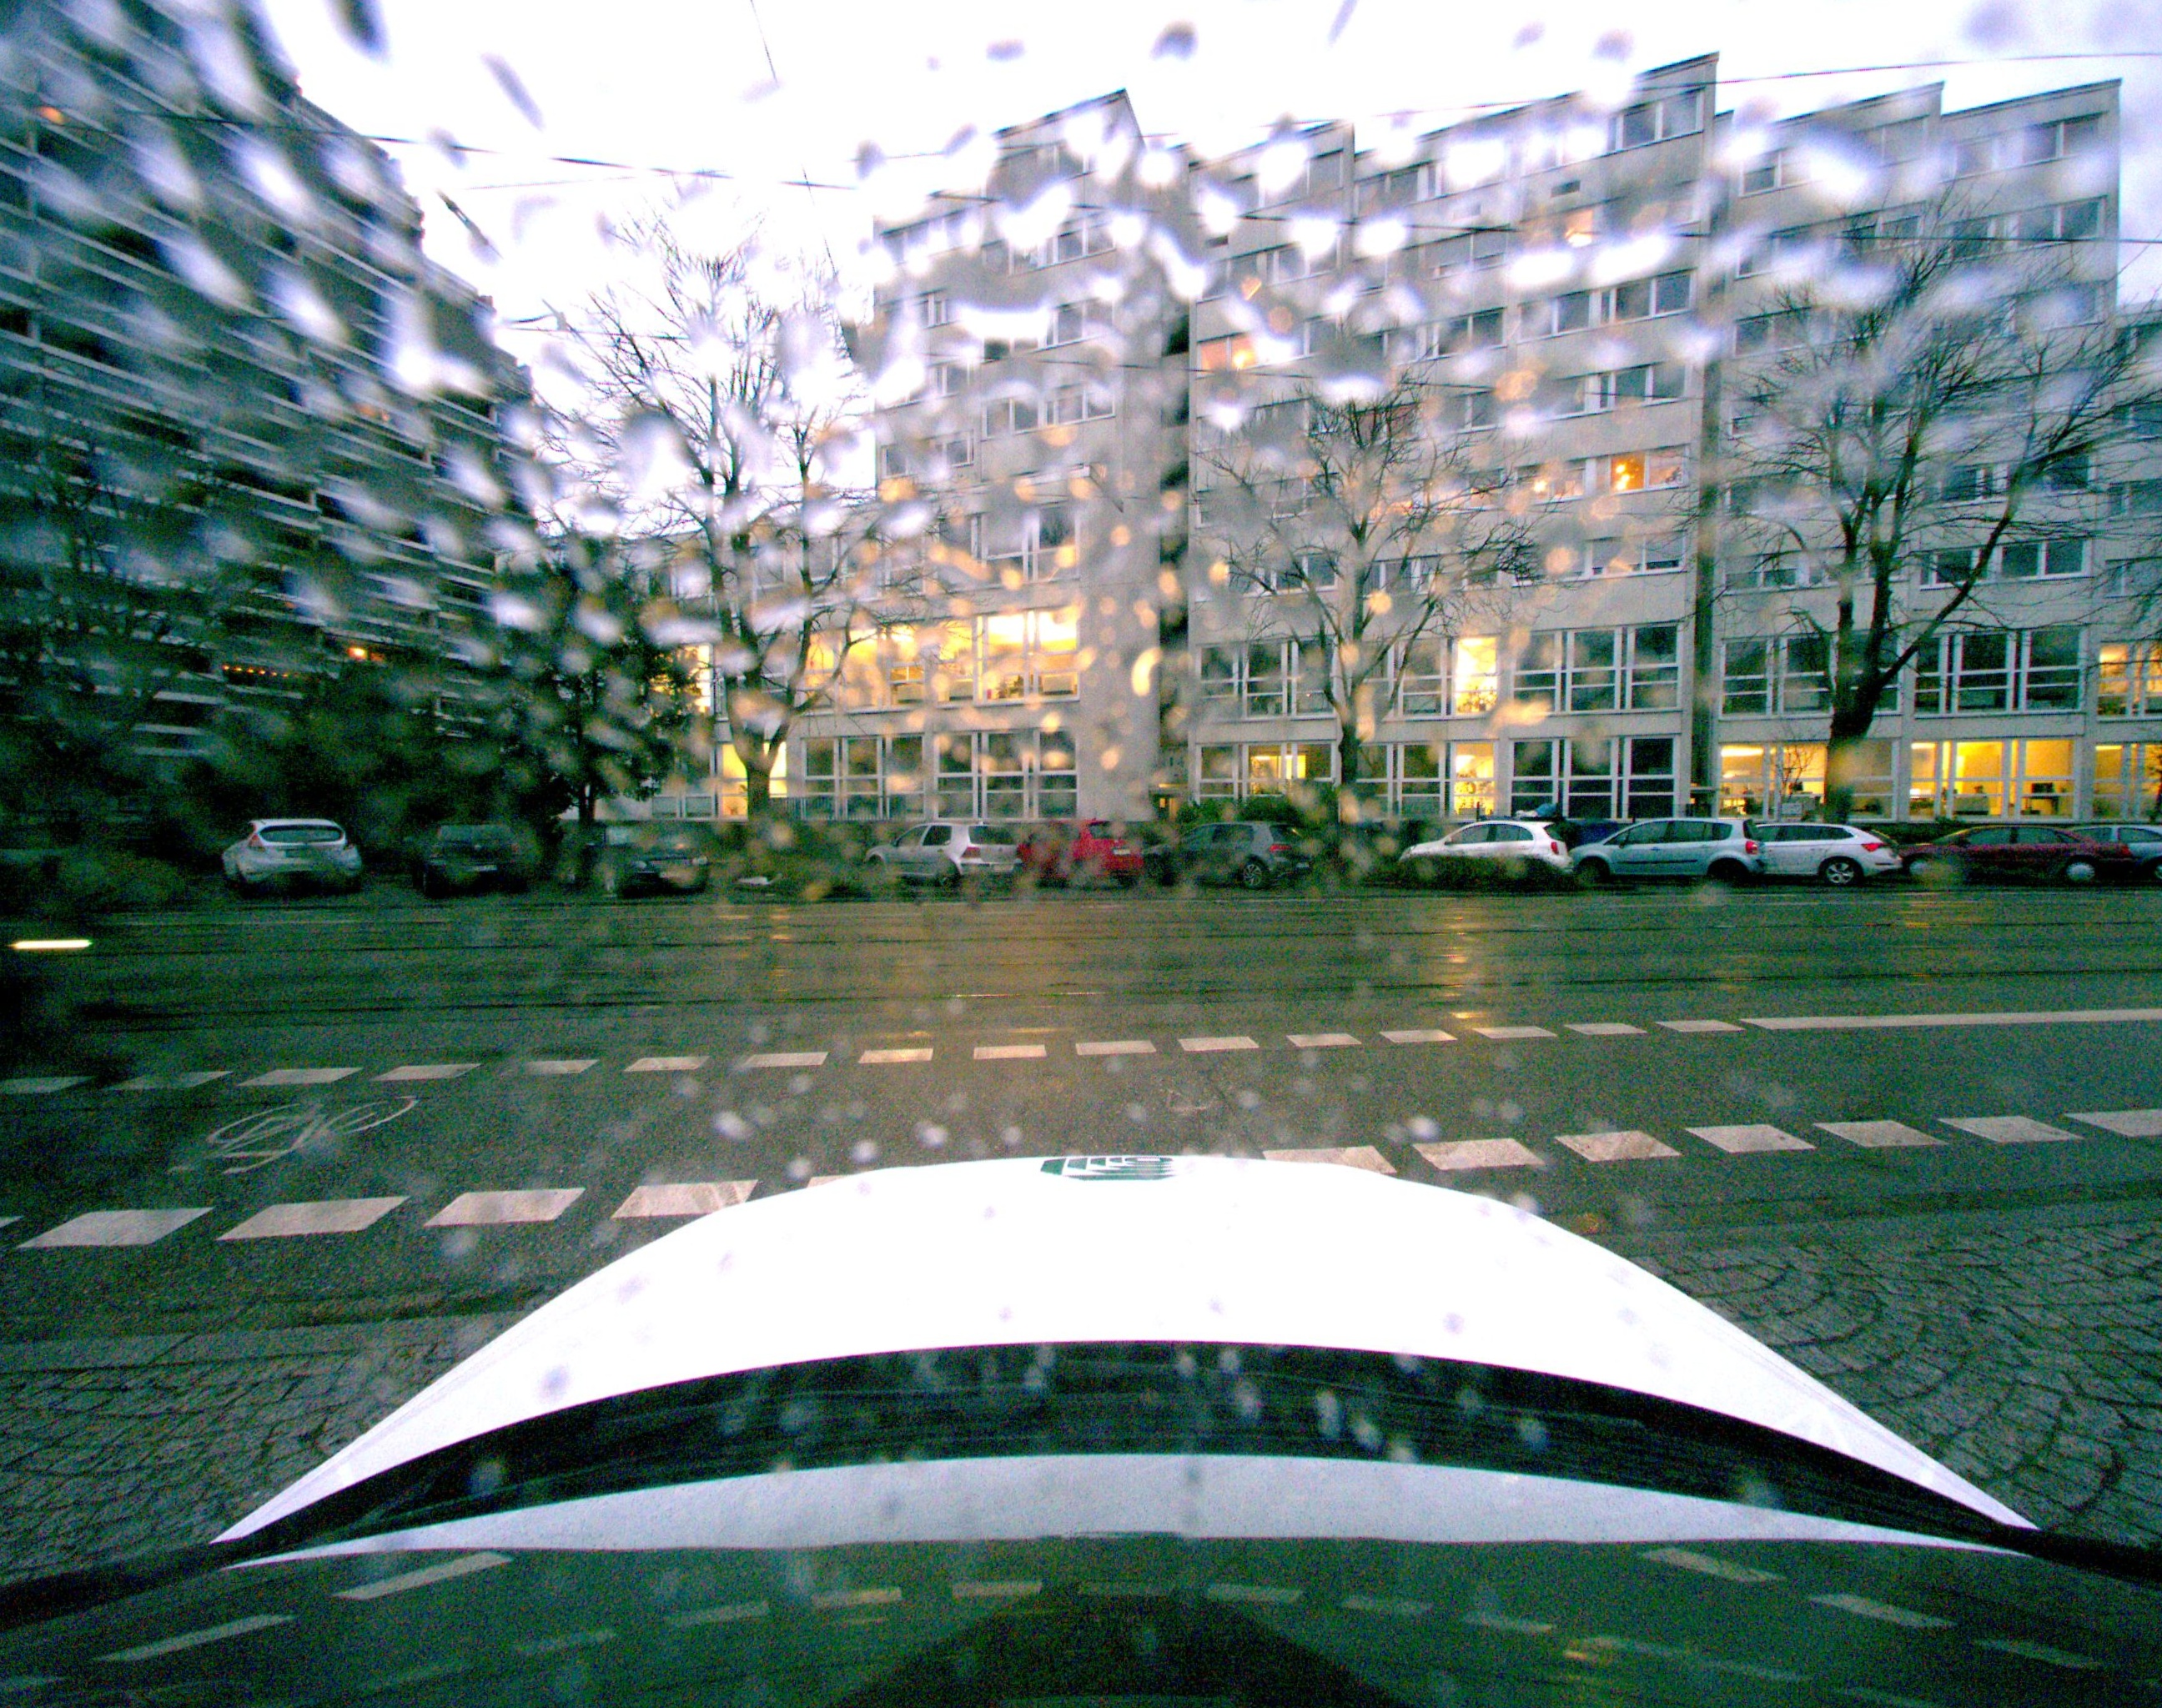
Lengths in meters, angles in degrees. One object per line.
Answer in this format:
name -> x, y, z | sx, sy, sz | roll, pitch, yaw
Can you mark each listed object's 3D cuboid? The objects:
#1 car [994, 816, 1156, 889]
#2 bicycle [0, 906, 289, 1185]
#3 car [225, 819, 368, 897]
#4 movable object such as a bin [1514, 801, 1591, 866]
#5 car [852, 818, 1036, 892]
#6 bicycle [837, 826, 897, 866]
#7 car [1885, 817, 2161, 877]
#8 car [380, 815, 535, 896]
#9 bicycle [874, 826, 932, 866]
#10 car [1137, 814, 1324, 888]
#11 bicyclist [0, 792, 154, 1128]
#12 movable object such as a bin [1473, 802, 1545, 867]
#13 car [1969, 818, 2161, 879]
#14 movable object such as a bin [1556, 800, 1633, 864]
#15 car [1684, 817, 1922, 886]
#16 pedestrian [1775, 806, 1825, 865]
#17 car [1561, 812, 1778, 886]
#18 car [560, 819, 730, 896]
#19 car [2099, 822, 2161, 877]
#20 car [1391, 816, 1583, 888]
car -> -0.187, -0.086, 18.433 | 3.408, 1.492, 1.740 | 1, 3, 43
bicycle -> -5.052, 0.839, 3.741 | 2.017, 1.096, 0.709 | -1, 2, -3
car -> -16.143, 0.011, 16.695 | 3.950, 1.399, 1.867 | 1, 3, 43
movable object such as a bin -> 14.292, -0.634, 24.754 | 1.386, 1.859, 1.573 | -2, 2, -4
car -> -3.062, -0.038, 17.908 | 3.949, 1.446, 1.804 | 1, 3, 39
bicycle -> -6.402, -0.256, 24.504 | 0.635, 1.120, 2.216 | 0, 2, 18
car -> 23.234, -0.208, 20.323 | 4.292, 1.352, 1.761 | 1, 1, 37
car -> -12.908, -0.035, 16.785 | 3.950, 1.462, 1.867 | 1, 3, 43
bicycle -> -5.231, -0.256, 24.142 | 0.635, 1.120, 2.216 | 0, 2, 18
car -> 3.318, -0.114, 18.392 | 3.805, 1.492, 1.707 | 1, 3, 41
bicyclist -> -5.091, 0.453, 3.728 | 0.844, 1.446, 0.658 | -1, 2, -2
movable object such as a bin -> 12.906, -0.610, 24.623 | 1.311, 1.859, 1.573 | -2, 2, -4
car -> 25.994, -0.162, 21.110 | 1.746, 1.463, 3.954 | -1, 2, -40
movable object such as a bin -> 15.633, -0.686, 24.859 | 1.311, 1.859, 1.573 | -2, 2, -4
car -> 16.857, -0.101, 19.187 | 1.745, 1.443, 3.955 | -1, 2, -38
pedestrian -> 21.057, -0.543, 23.849 | 0.968, 1.676, 0.598 | -1, 2, -6
car -> 13.768, -0.174, 19.187 | 3.950, 1.563, 1.747 | 1, 3, 43
car -> -9.027, 0.006, 16.733 | 3.950, 1.378, 1.867 | 1, 3, 43
car -> 29.618, -0.132, 21.058 | 3.803, 1.423, 1.748 | 1, 3, 39
car -> 9.646, -0.105, 19.500 | 3.827, 1.551, 1.704 | 1, 3, 40
